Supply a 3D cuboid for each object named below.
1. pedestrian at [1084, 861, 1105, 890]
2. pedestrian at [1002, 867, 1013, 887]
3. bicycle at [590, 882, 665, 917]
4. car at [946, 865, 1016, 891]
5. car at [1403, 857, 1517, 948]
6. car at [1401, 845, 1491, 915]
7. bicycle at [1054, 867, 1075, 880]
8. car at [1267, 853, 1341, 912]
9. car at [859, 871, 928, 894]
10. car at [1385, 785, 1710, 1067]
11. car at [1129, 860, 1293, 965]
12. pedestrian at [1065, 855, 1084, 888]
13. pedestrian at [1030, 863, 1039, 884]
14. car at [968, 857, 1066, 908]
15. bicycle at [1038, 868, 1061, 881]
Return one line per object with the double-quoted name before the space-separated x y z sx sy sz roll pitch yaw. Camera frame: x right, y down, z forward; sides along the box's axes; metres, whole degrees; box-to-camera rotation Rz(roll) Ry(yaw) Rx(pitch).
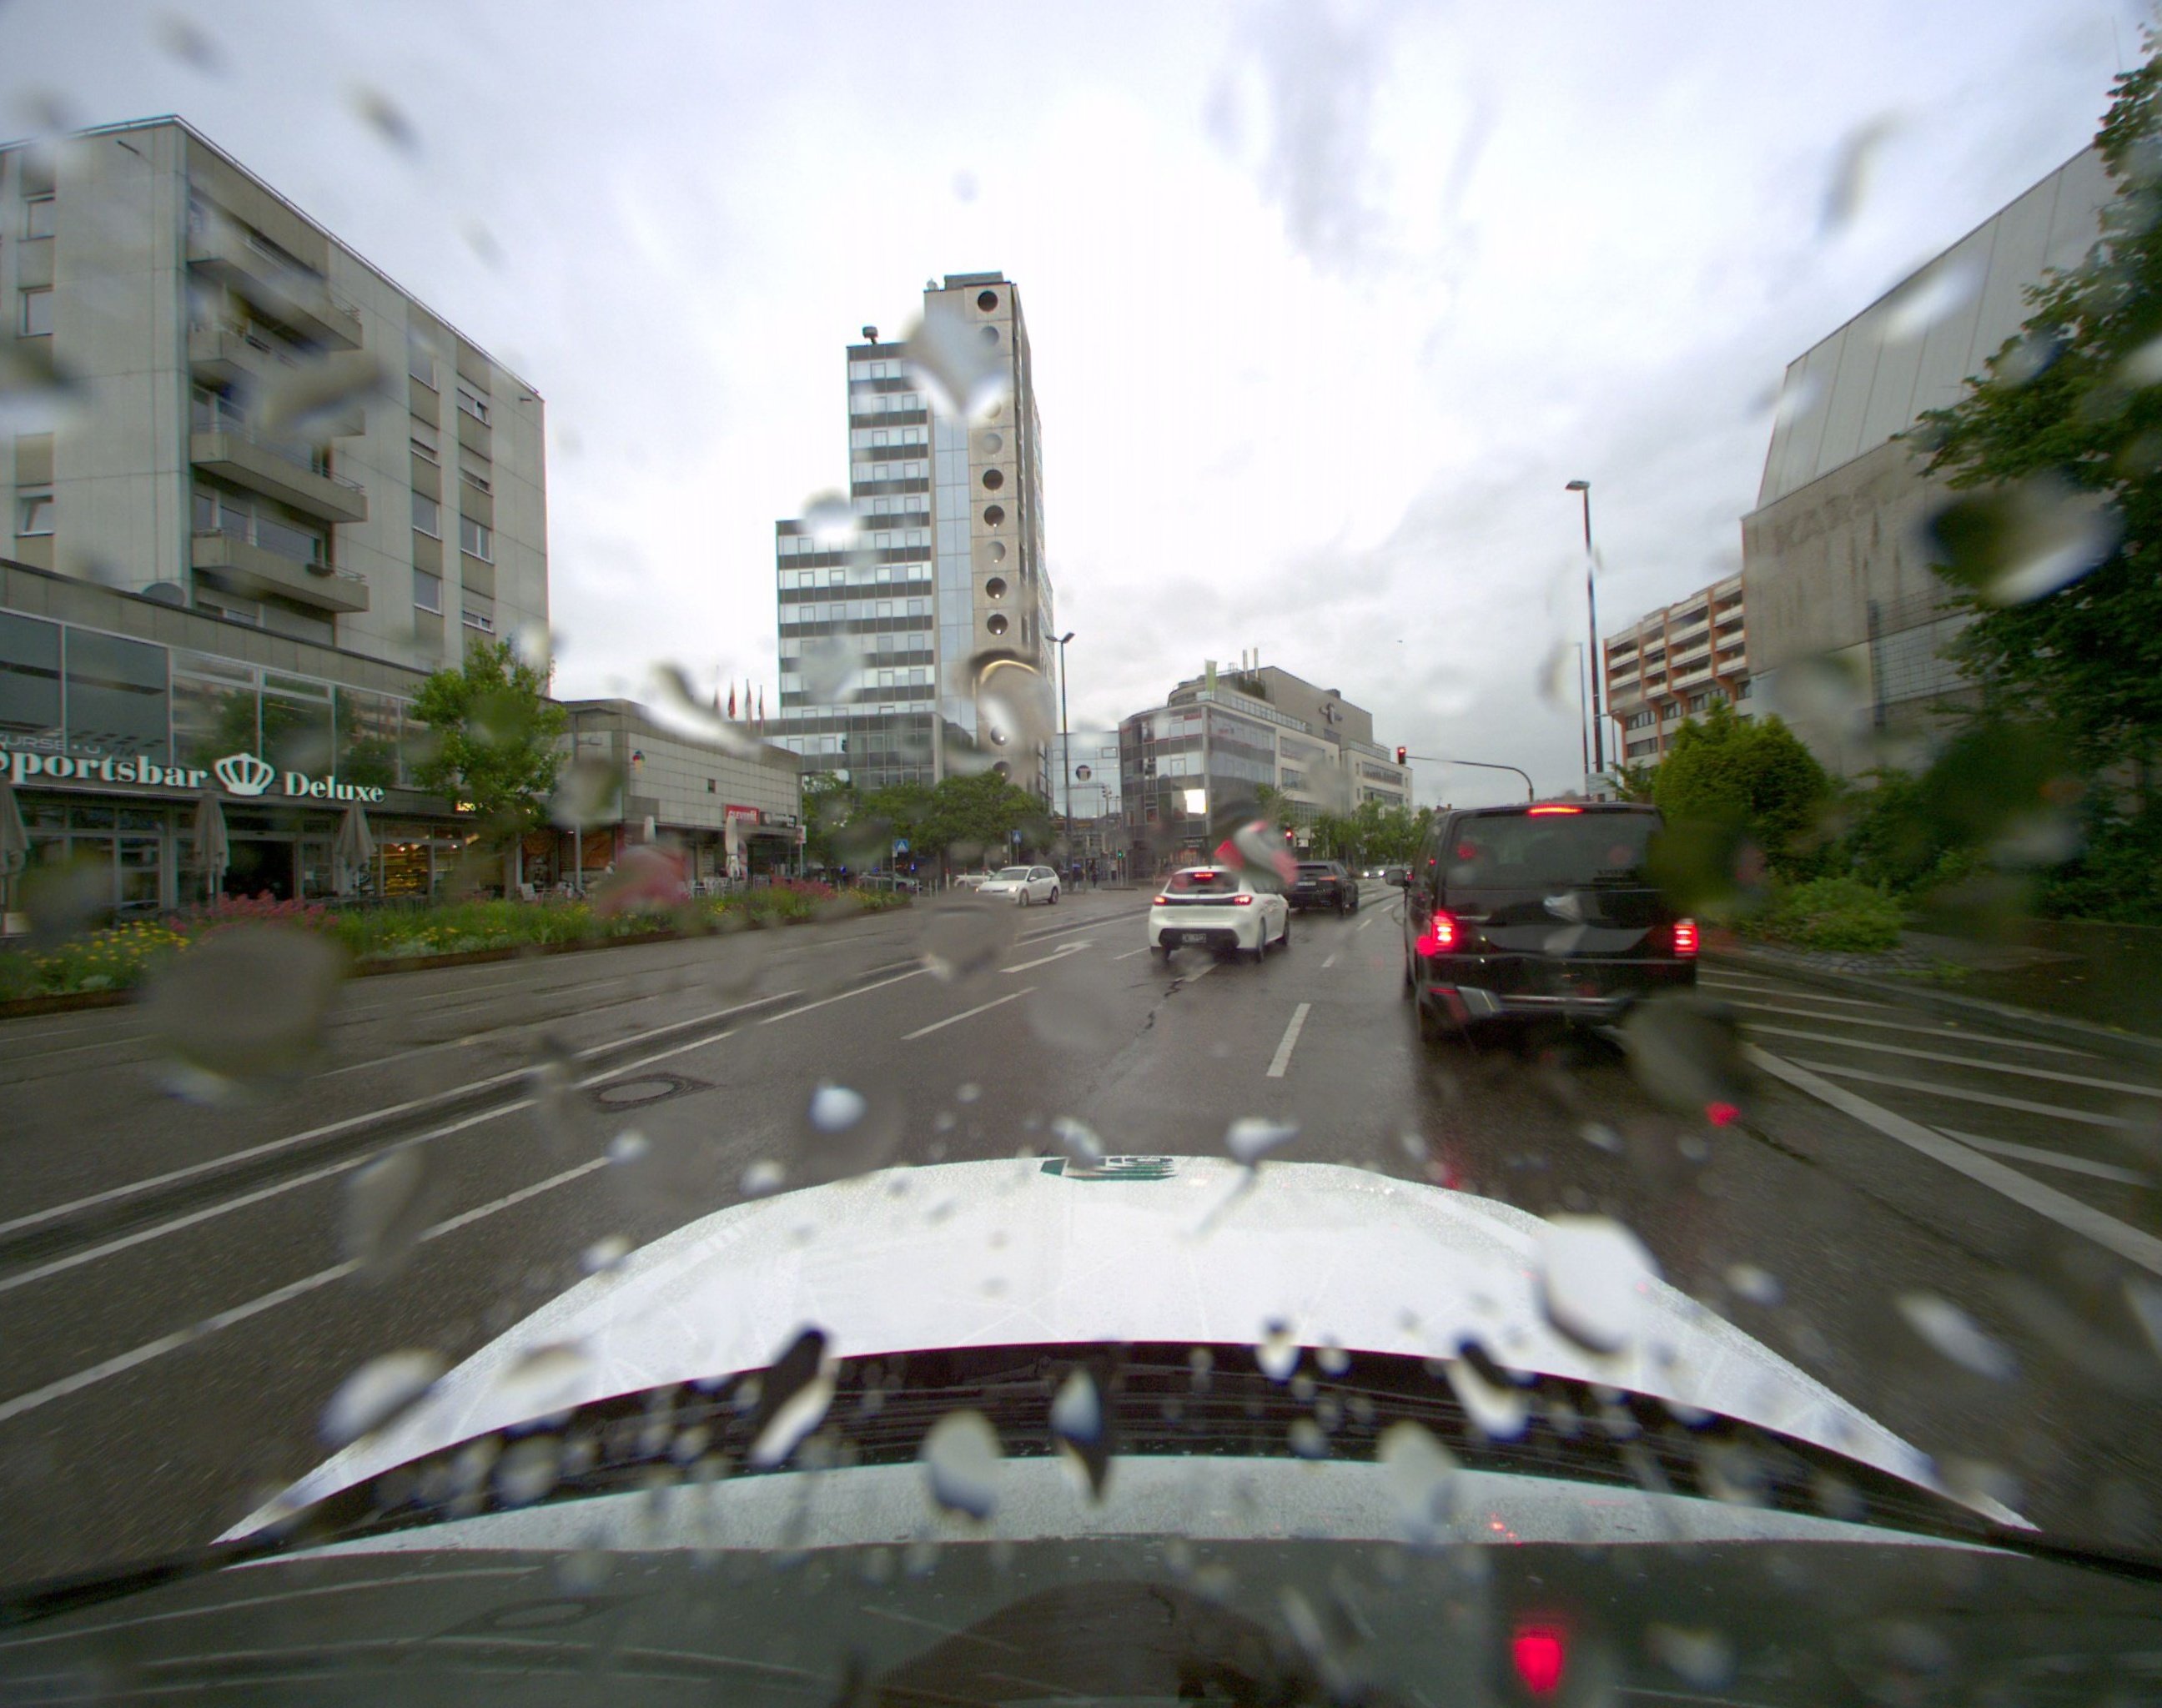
"pedestrian" 0.851 1.411 52.726 0.837 1.819 1.031 -4 -2 36
"pedestrian" -7.012 2.186 77.544 0.754 1.868 0.827 -2 -2 -23
"bicycle" -17.048 1.718 30.637 2.530 1.223 0.698 -1 -1 8
"car" -6.510 1.548 53.462 4.168 1.595 1.875 -1 -1 8
"car" 6.868 0.780 15.027 1.617 1.386 4.539 -1 -1 23
"car" 9.540 0.626 21.208 1.884 1.621 4.360 -2 -1 25
"bicycle" -1.785 2.144 89.292 2.264 1.247 0.677 -2 -2 3
"car" 6.463 0.761 23.351 1.801 1.530 3.830 -1 0 19
"car" -12.595 1.889 54.737 4.019 1.420 1.876 -2 -1 11
"car" 4.067 0.531 7.980 1.979 1.894 4.610 -1 -1 20
"car" 2.321 0.862 13.596 1.855 1.462 3.893 -1 -1 22
"pedestrian" -0.422 1.112 51.293 1.159 2.014 1.327 -1 -1 -2
"pedestrian" -4.434 1.860 78.394 0.760 2.014 0.714 -2 -1 1
"car" -2.243 0.985 29.762 1.870 1.682 4.527 -1 -1 19
"bicycle" -3.259 2.166 84.377 2.264 1.247 0.677 -2 -2 3
